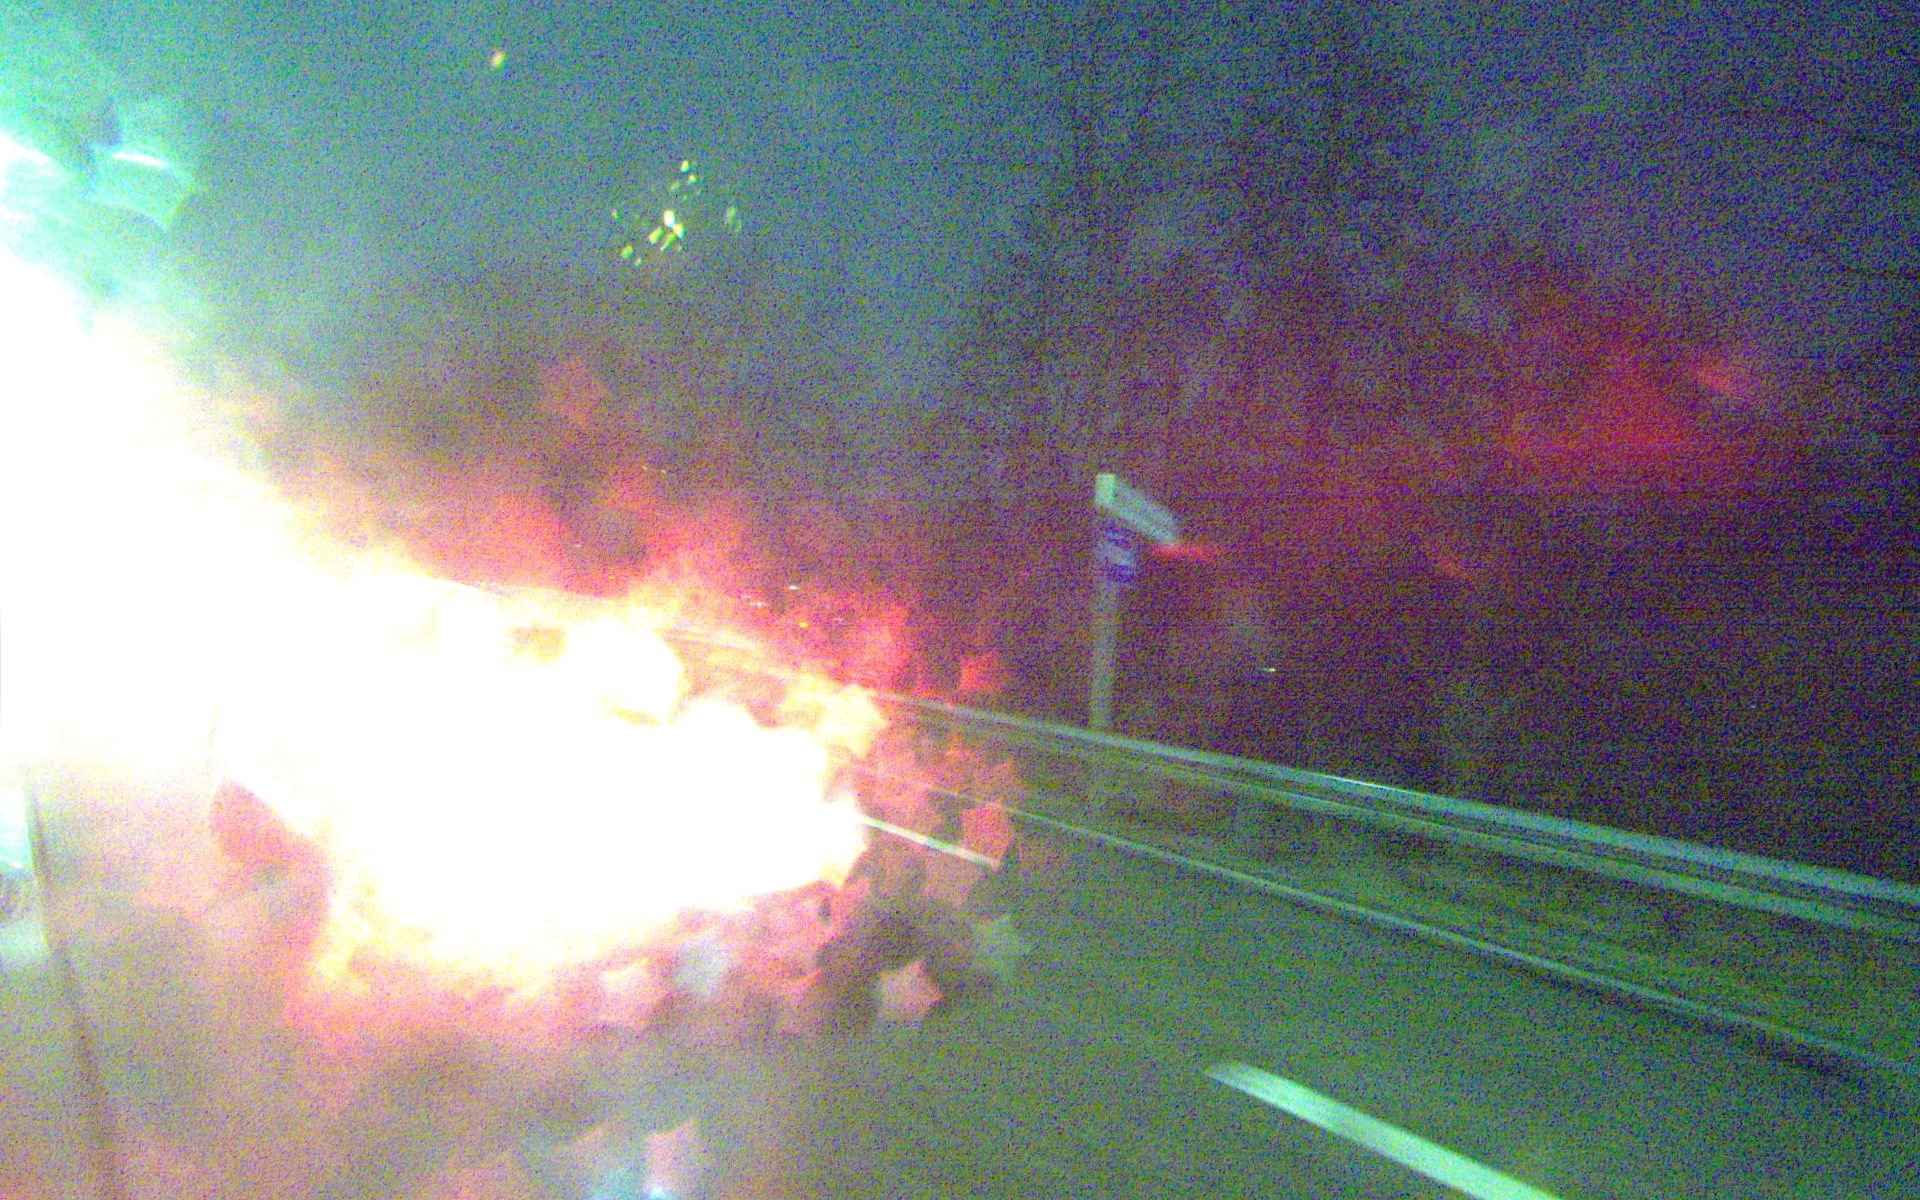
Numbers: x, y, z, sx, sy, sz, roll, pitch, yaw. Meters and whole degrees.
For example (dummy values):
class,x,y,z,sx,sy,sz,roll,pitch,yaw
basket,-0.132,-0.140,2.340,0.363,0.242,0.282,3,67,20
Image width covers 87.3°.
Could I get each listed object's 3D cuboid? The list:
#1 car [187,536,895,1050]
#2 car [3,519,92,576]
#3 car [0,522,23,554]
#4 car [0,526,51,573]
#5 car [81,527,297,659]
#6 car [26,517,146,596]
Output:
class,x,y,z,sx,sy,sz,roll,pitch,yaw
car,-2.559,0.581,5.324,1.817,1.502,4.511,8,-2,-44
car,-31.098,-1.802,34.244,3.725,1.610,1.816,5,-1,42
car,-53.295,-3.516,55.669,3.824,1.561,1.777,5,-2,44
car,-37.245,-2.051,39.547,3.725,1.610,1.816,5,-1,42
car,-11.446,-0.174,14.794,4.663,1.465,1.729,5,-2,44
car,-22.009,-1.120,25.294,3.725,1.583,1.737,5,-2,42
